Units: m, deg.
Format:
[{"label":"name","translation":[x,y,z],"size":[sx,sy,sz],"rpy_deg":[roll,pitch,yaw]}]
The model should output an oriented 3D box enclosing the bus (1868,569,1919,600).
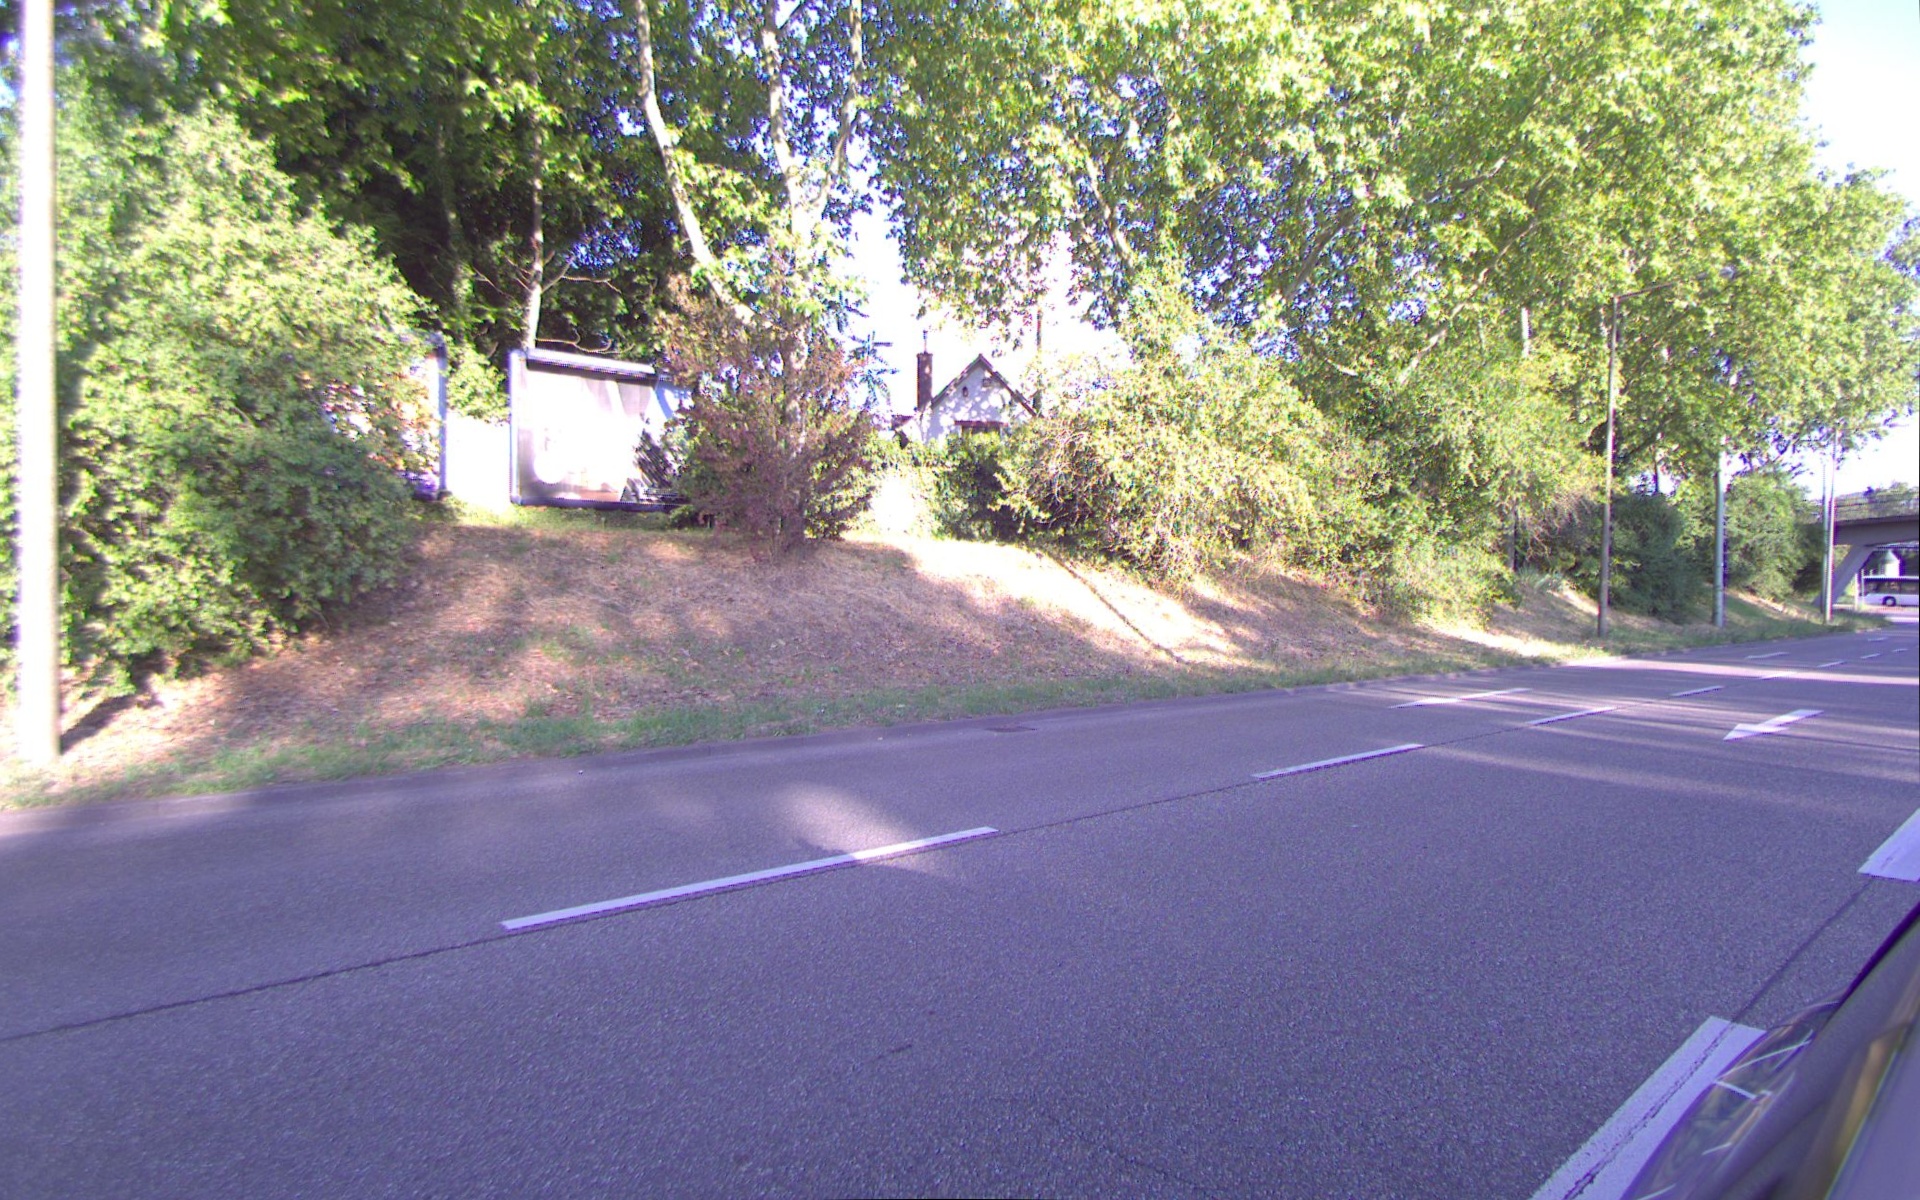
[{"label":"bus","translation":[91.536,-1.446,92.485],"size":[2.366,2.899,13.221],"rpy_deg":[0,0,-19]}]
